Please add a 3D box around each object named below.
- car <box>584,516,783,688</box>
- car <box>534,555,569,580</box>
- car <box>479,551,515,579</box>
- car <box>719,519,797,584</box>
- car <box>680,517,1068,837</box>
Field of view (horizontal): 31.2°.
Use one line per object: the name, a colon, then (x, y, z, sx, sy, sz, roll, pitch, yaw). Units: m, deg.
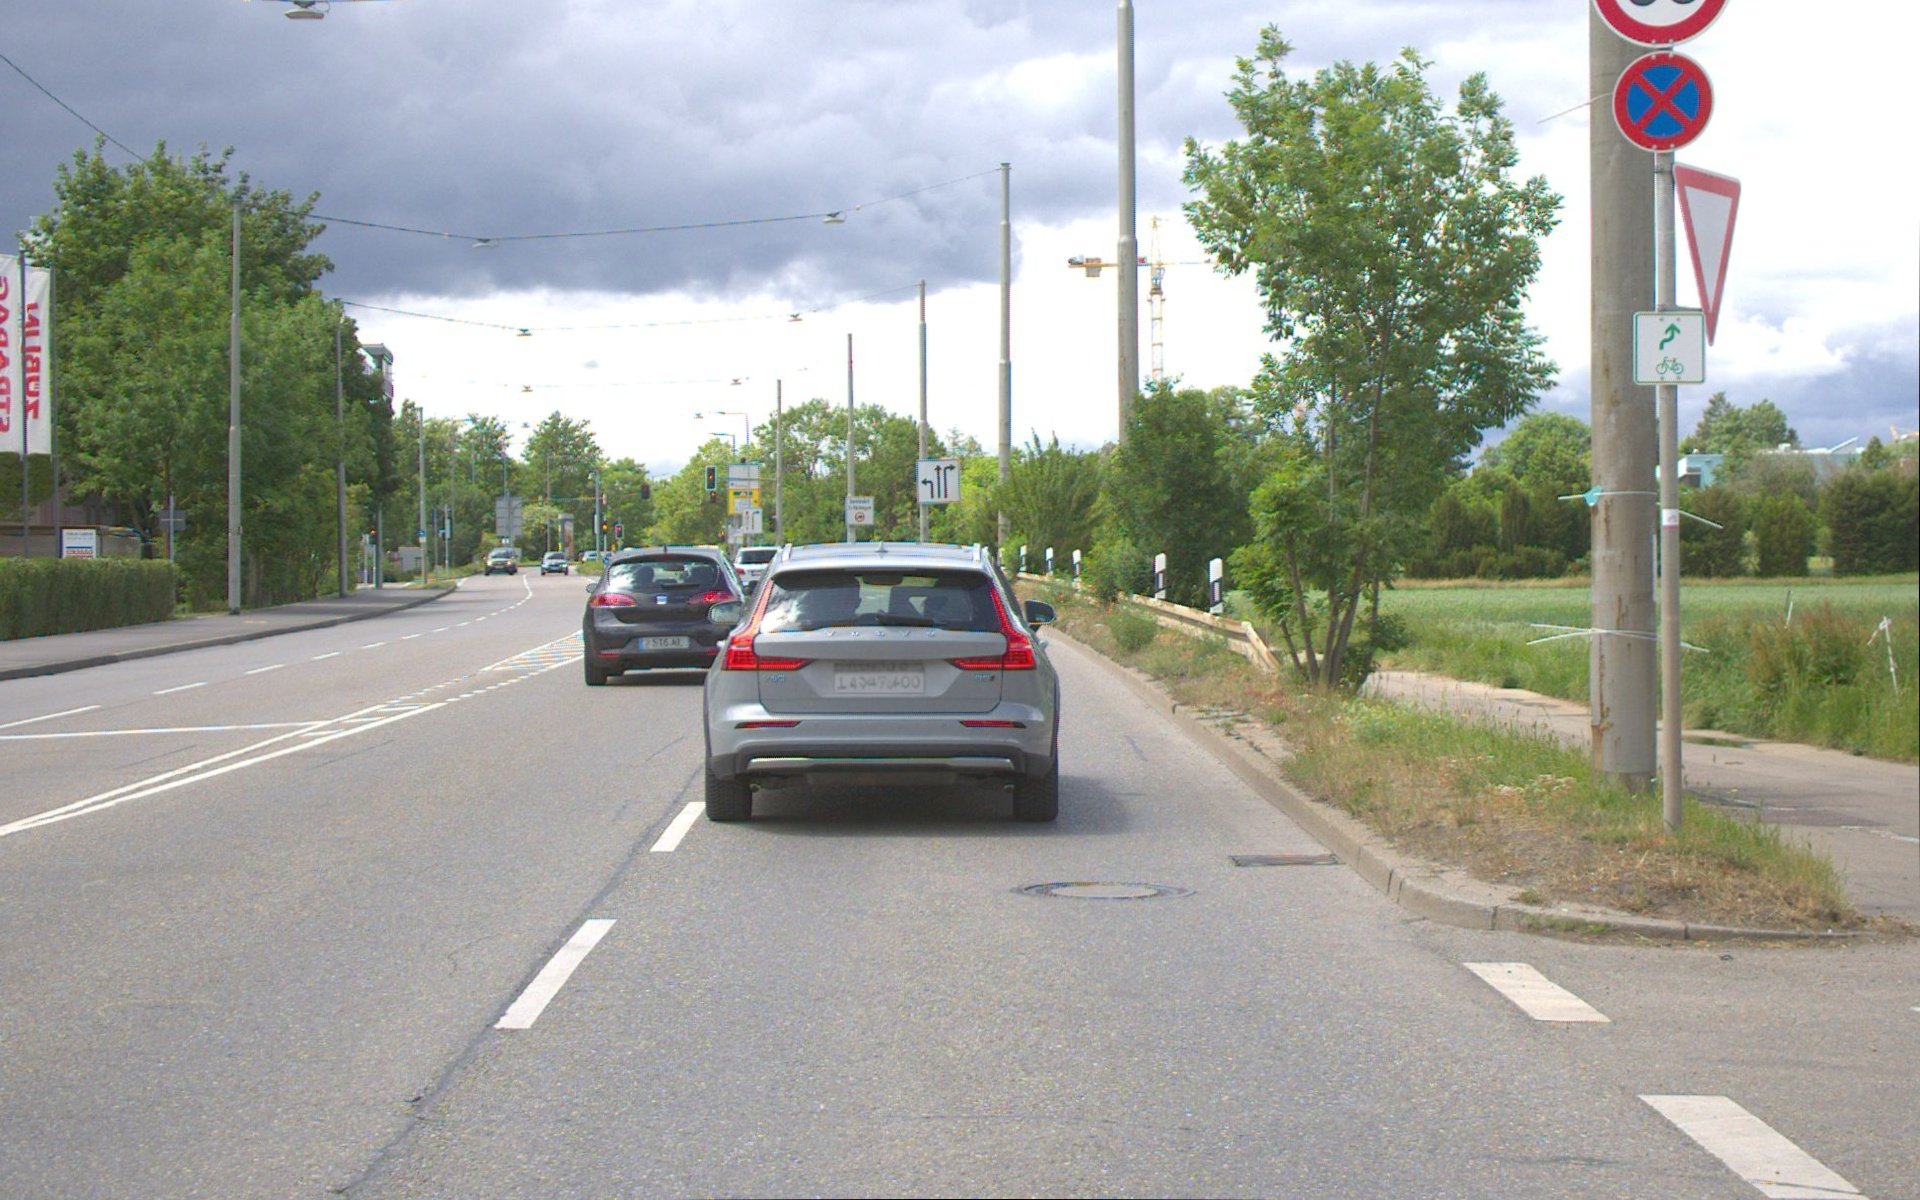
car: (-2.938, 0.015, 37.091, 1.993, 1.711, 4.000, 1, 0, -3)
car: (-25.555, -2.009, 214.975, 1.881, 1.515, 4.000, 1, 0, -3)
car: (-29.185, -2.183, 216.912, 1.881, 1.711, 4.000, 1, 0, -3)
car: (-5.516, -1.319, 94.386, 1.993, 1.689, 4.000, 1, 0, -2)
car: (-0.432, 0.377, 19.111, 1.895, 1.549, 4.000, 1, 0, 0)
